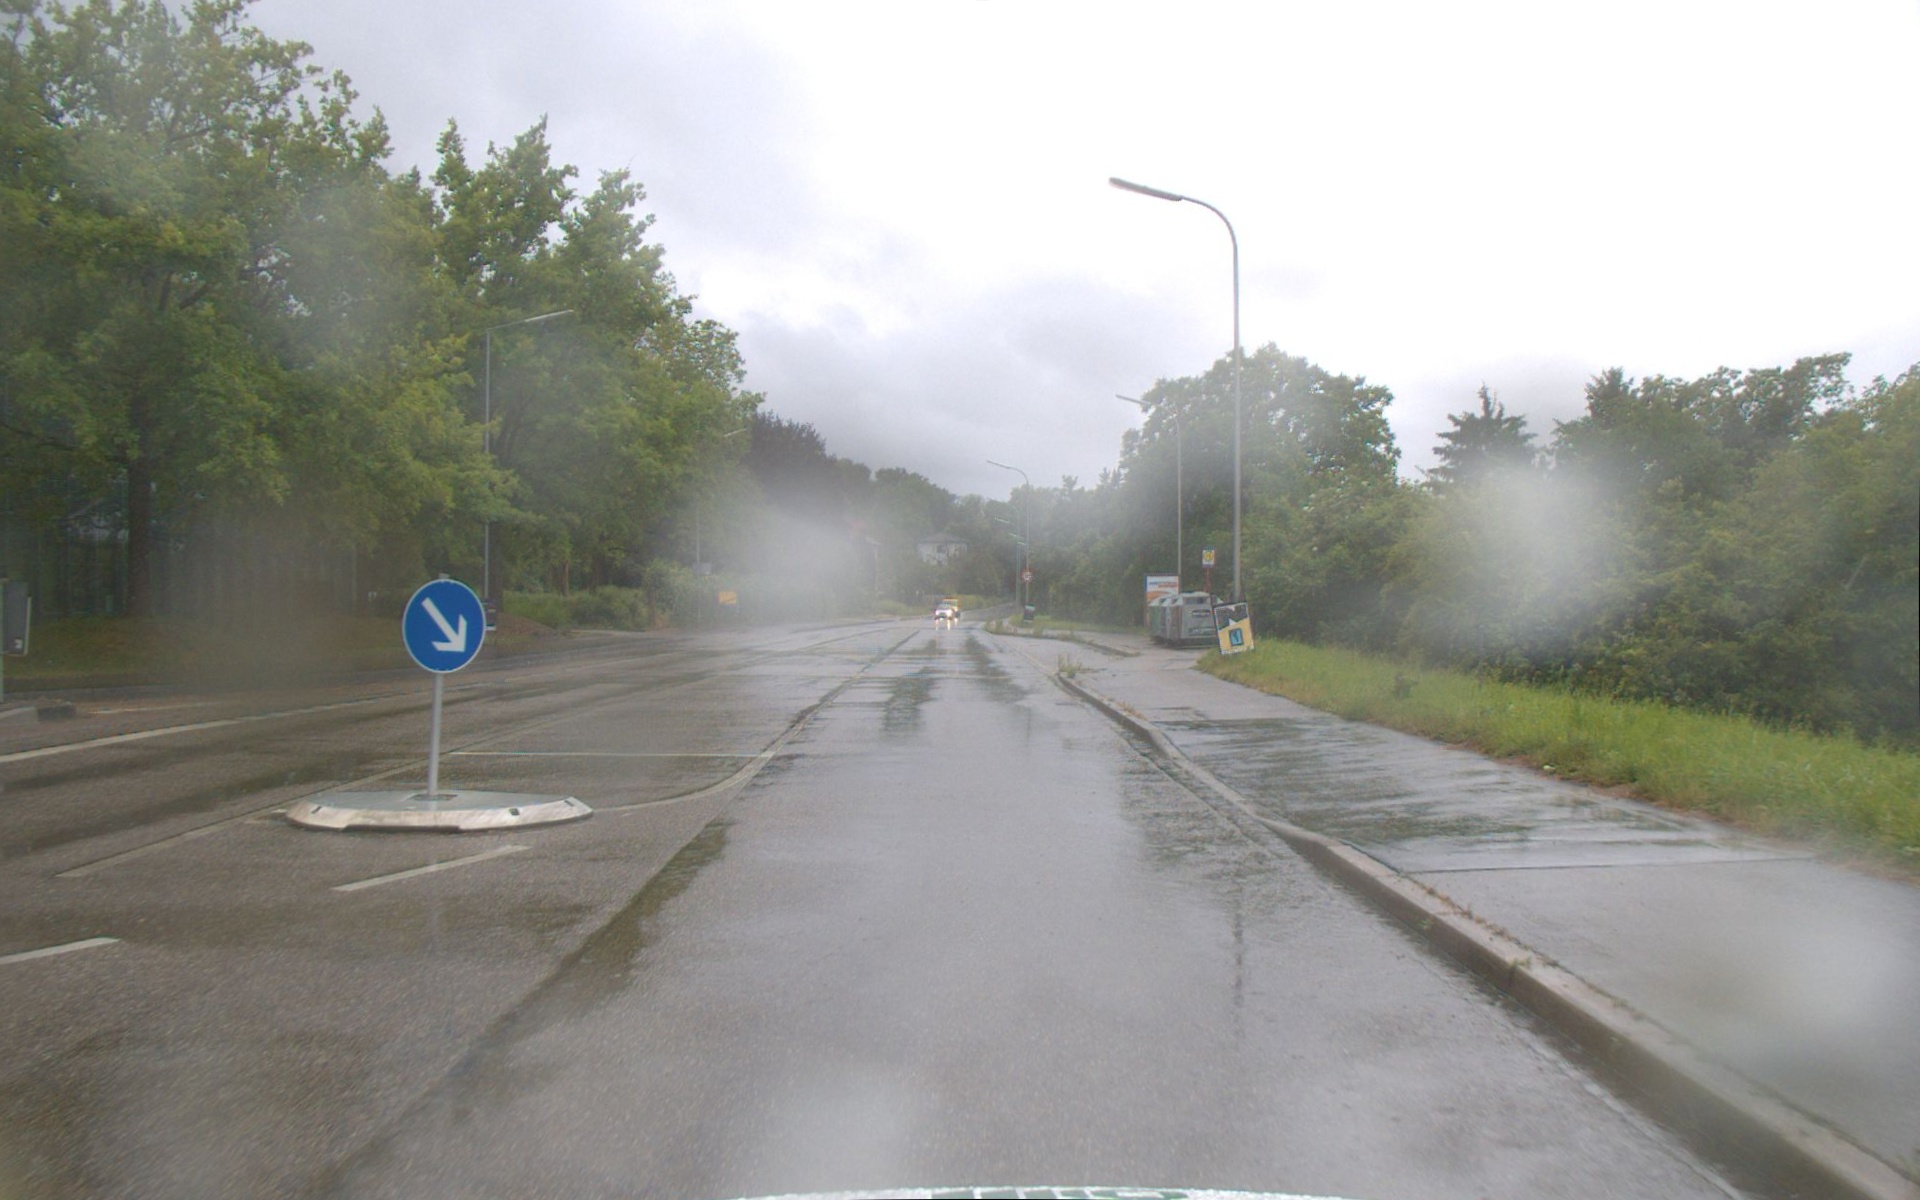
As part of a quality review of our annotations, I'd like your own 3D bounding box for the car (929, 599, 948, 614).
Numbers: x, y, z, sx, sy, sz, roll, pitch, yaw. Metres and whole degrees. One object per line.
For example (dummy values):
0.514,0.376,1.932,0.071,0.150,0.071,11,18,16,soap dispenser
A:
-2.029,0.639,156.232,1.666,1.373,3.906,0,0,1,car
